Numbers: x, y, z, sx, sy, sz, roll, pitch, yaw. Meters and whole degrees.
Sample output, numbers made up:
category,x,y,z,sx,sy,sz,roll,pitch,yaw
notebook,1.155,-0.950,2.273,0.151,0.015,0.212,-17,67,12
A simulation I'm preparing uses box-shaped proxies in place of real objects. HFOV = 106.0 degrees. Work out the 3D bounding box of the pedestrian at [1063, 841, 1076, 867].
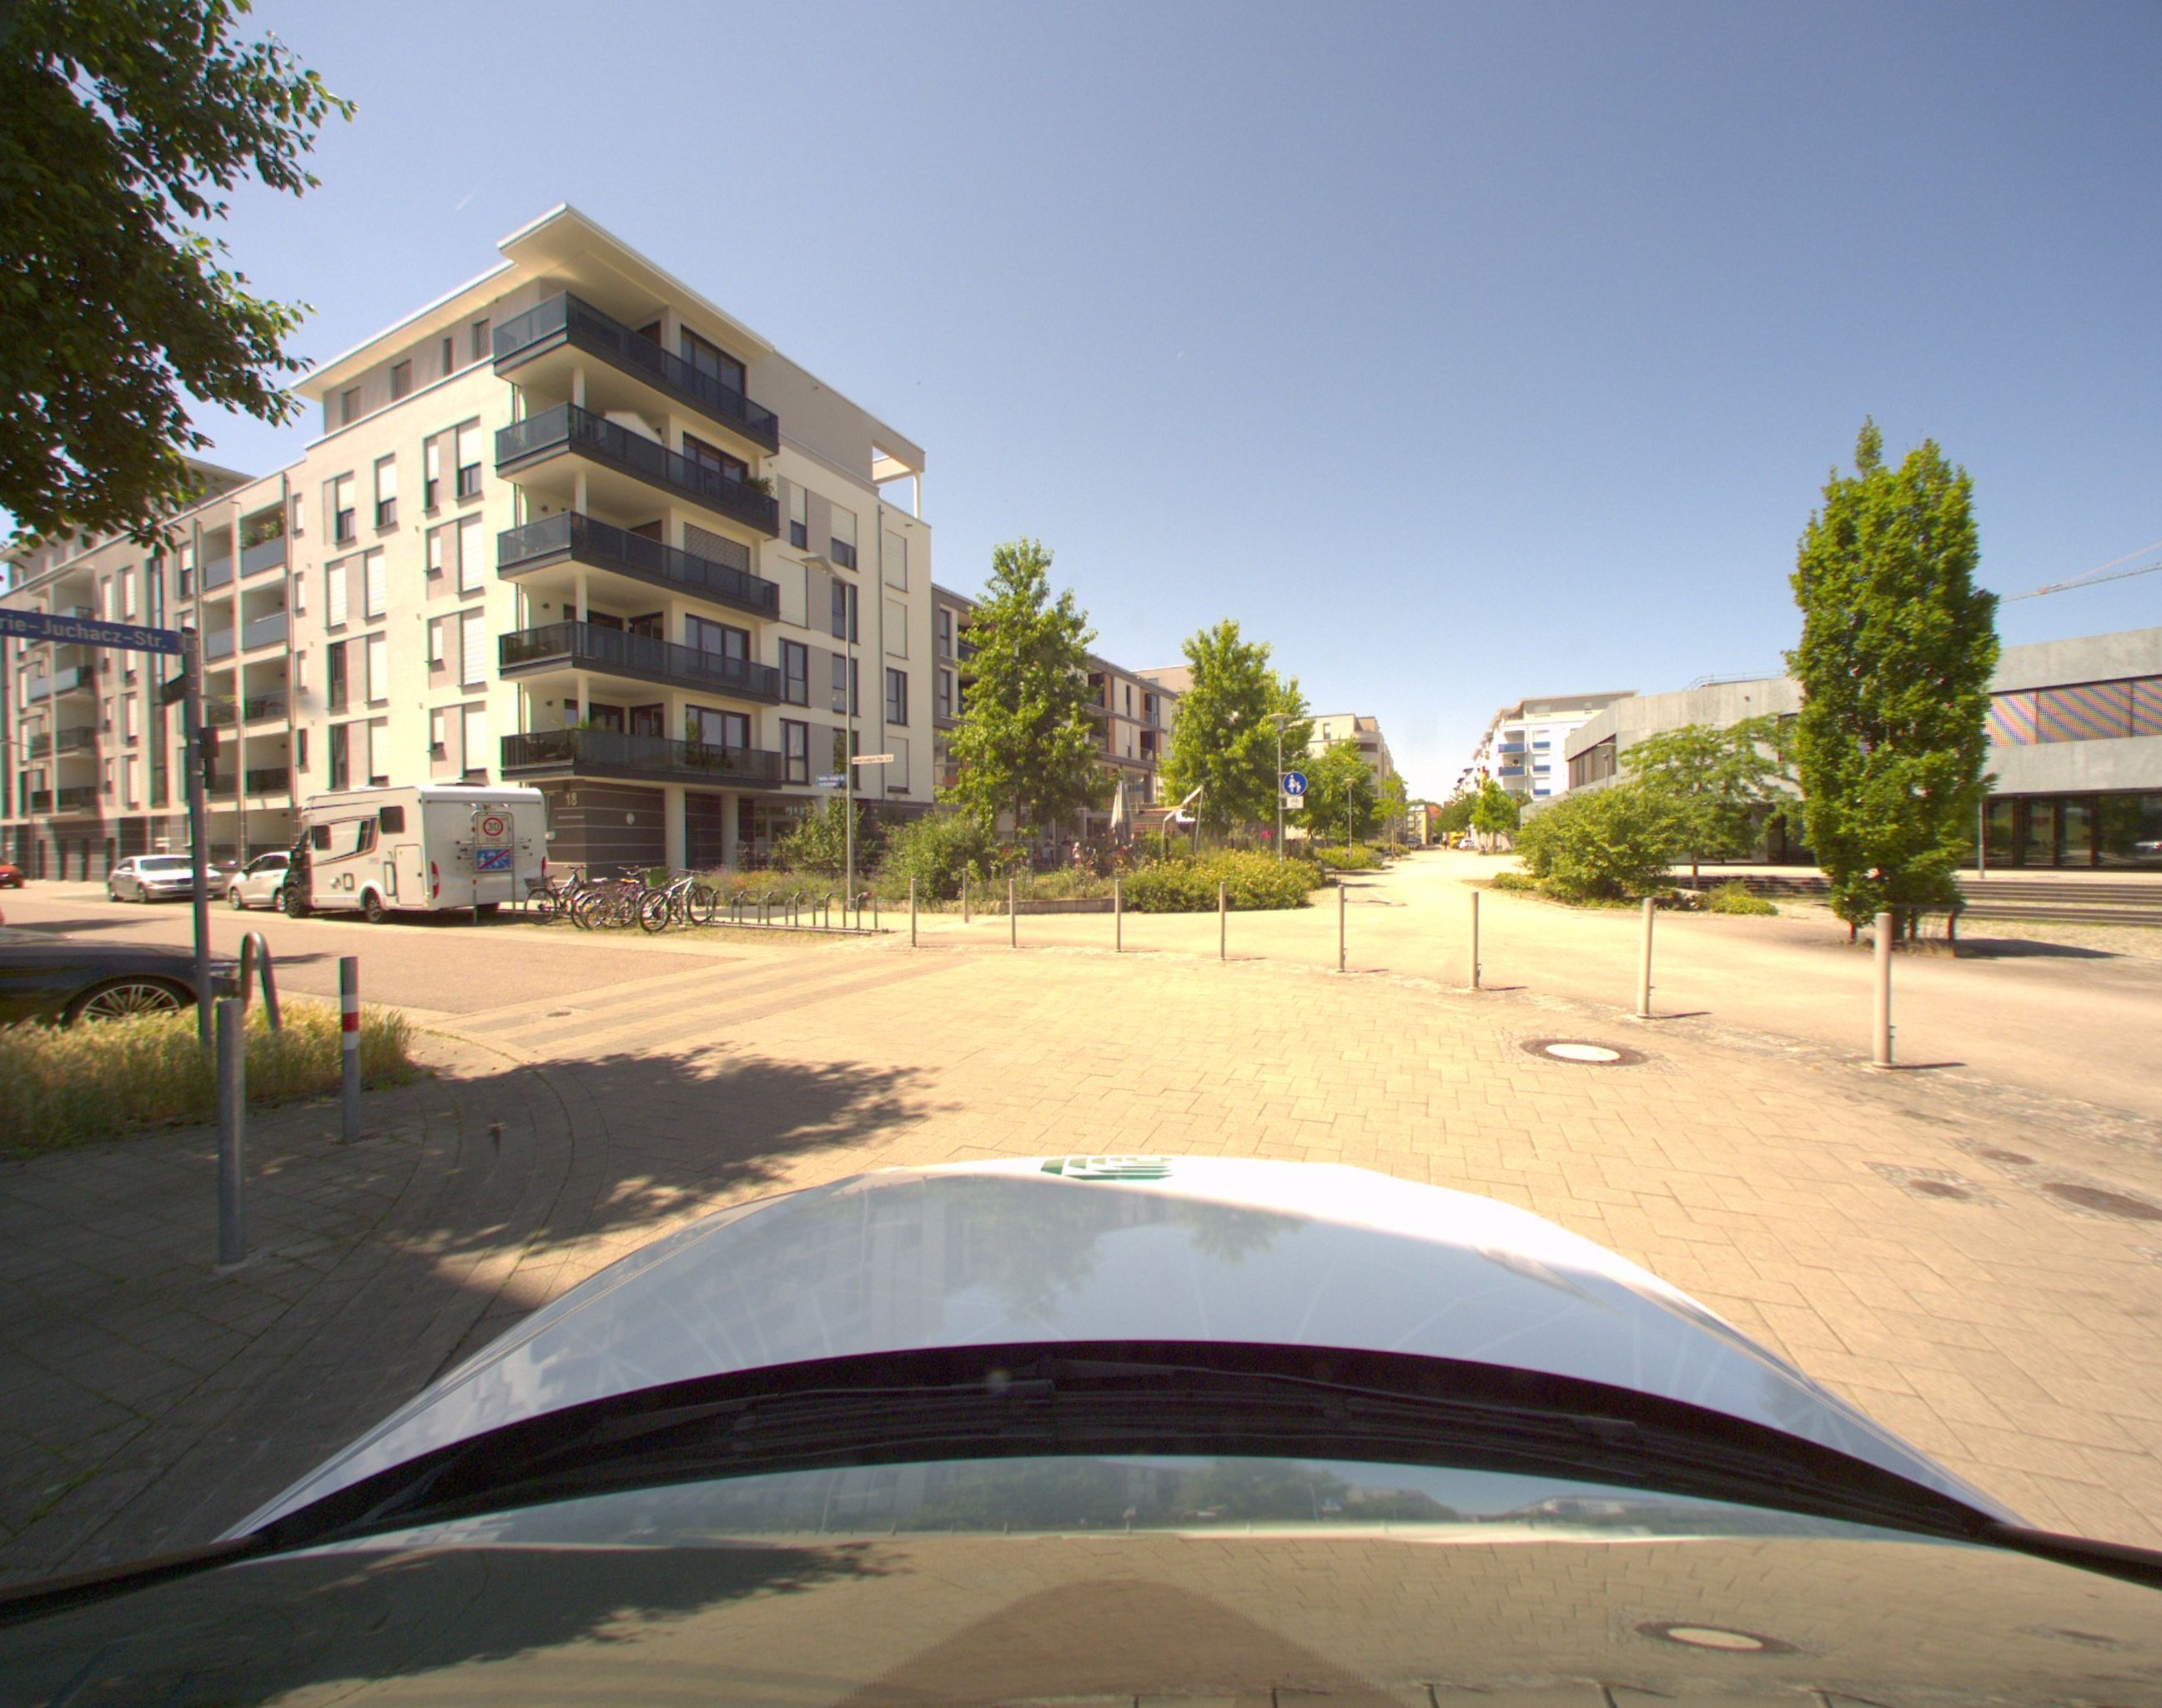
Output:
category,x,y,z,sx,sy,sz,roll,pitch,yaw
pedestrian,-0.444,-0.013,32.298,0.413,1.025,0.311,0,-1,-31

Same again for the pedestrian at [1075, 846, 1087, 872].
category,x,y,z,sx,sy,sz,roll,pitch,yaw
pedestrian,0.001,0.185,31.867,0.393,1.026,0.414,0,0,16

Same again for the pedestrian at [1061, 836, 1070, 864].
category,x,y,z,sx,sy,sz,roll,pitch,yaw
pedestrian,-0.846,-0.208,43.465,0.396,1.508,0.460,0,0,-15

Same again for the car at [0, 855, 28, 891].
category,x,y,z,sx,sy,sz,roll,pitch,yaw
car,-47.113,0.829,34.808,4.205,1.486,1.754,0,3,27

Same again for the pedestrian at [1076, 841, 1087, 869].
category,x,y,z,sx,sy,sz,roll,pitch,yaw
pedestrian,0.006,0.038,30.209,0.292,1.053,0.283,-1,0,-45

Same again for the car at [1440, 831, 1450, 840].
category,x,y,z,sx,sy,sz,roll,pitch,yaw
car,89.313,-4.483,199.824,1.976,2.013,4.022,0,1,23

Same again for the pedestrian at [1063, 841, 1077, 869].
category,x,y,z,sx,sy,sz,roll,pitch,yaw
pedestrian,-0.398,0.029,29.958,0.413,1.025,0.279,0,-1,-31

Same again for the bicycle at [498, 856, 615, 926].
category,x,y,z,sx,sy,sz,roll,pitch,yaw
bicycle,-10.508,0.706,16.426,0.818,1.222,1.929,0,3,11

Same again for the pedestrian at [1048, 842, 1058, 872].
category,x,y,z,sx,sy,sz,roll,pitch,yaw
pedestrian,-1.565,0.170,45.657,0.392,1.690,0.465,0,0,19

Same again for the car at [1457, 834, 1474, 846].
category,x,y,z,sx,sy,sz,roll,pitch,yaw
car,52.539,-1.914,111.290,1.975,1.609,4.023,0,1,25

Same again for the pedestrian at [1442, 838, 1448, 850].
category,x,y,z,sx,sy,sz,roll,pitch,yaw
pedestrian,48.567,-1.321,108.543,0.688,1.529,0.602,0,1,25

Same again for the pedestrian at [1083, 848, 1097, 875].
category,x,y,z,sx,sy,sz,roll,pitch,yaw
pedestrian,0.335,0.268,29.994,0.383,0.971,0.292,0,0,38

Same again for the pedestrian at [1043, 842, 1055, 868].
category,x,y,z,sx,sy,sz,roll,pitch,yaw
pedestrian,-1.227,0.032,30.986,0.367,0.986,0.413,0,0,12

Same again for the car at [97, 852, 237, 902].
category,x,y,z,sx,sy,sz,roll,pitch,yaw
car,-28.472,0.675,25.348,4.370,1.416,1.863,-1,1,28

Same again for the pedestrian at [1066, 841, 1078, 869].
category,x,y,z,sx,sy,sz,roll,pitch,yaw
pedestrian,-0.333,0.038,30.337,0.292,1.053,0.318,-1,0,-45

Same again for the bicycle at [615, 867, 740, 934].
category,x,y,z,sx,sy,sz,roll,pitch,yaw
bicycle,-7.290,0.808,14.838,0.866,1.003,2.042,-1,2,15

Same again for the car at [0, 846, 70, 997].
category,x,y,z,sx,sy,sz,roll,pitch,yaw
car,-13.499,0.765,7.381,2.017,1.632,5.074,0,1,25

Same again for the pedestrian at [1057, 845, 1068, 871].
category,x,y,z,sx,sy,sz,roll,pitch,yaw
pedestrian,-1.054,0.216,46.356,0.463,1.508,0.393,0,0,-24

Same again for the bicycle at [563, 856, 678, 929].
category,x,y,z,sx,sy,sz,roll,pitch,yaw
bicycle,-8.714,0.693,15.508,0.548,1.222,1.868,0,2,28

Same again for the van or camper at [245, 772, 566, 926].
category,x,y,z,sx,sy,sz,roll,pitch,yaw
van or camper,-15.179,-0.046,18.163,7.729,2.906,2.461,-1,0,26

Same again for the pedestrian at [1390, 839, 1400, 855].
category,x,y,z,sx,sy,sz,roll,pitch,yaw
pedestrian,26.862,-0.571,69.658,0.840,1.348,0.700,0,1,23

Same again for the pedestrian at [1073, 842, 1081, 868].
category,x,y,z,sx,sy,sz,roll,pitch,yaw
pedestrian,-0.175,0.027,33.548,0.319,1.053,0.291,0,0,4

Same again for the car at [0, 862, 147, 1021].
category,x,y,z,sx,sy,sz,roll,pitch,yaw
car,-11.317,0.786,6.410,1.805,1.449,4.861,-1,-1,25

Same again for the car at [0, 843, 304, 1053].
category,x,y,z,sx,sy,sz,roll,pitch,yaw
car,-8.925,0.699,5.359,1.904,1.485,5.145,-1,0,25

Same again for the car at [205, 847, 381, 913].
category,x,y,z,sx,sy,sz,roll,pitch,yaw
car,-20.571,0.637,21.250,4.208,1.504,1.824,-1,3,25

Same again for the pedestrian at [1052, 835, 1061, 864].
category,x,y,z,sx,sy,sz,roll,pitch,yaw
pedestrian,-1.300,-0.238,43.404,0.396,1.508,0.460,0,0,-15

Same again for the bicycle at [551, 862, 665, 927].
category,x,y,z,sx,sy,sz,roll,pitch,yaw
bicycle,-9.048,0.745,15.671,0.470,1.110,1.901,0,2,28

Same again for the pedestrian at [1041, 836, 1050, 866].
category,x,y,z,sx,sy,sz,roll,pitch,yaw
pedestrian,-1.990,-0.172,45.612,0.333,1.690,0.465,0,0,19

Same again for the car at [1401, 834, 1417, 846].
category,x,y,z,sx,sy,sz,roll,pitch,yaw
car,49.203,-2.075,122.158,2.127,1.652,4.112,0,1,24

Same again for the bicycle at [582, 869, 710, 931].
category,x,y,z,sx,sy,sz,roll,pitch,yaw
bicycle,-8.123,0.824,15.286,0.933,0.975,1.871,0,3,40
